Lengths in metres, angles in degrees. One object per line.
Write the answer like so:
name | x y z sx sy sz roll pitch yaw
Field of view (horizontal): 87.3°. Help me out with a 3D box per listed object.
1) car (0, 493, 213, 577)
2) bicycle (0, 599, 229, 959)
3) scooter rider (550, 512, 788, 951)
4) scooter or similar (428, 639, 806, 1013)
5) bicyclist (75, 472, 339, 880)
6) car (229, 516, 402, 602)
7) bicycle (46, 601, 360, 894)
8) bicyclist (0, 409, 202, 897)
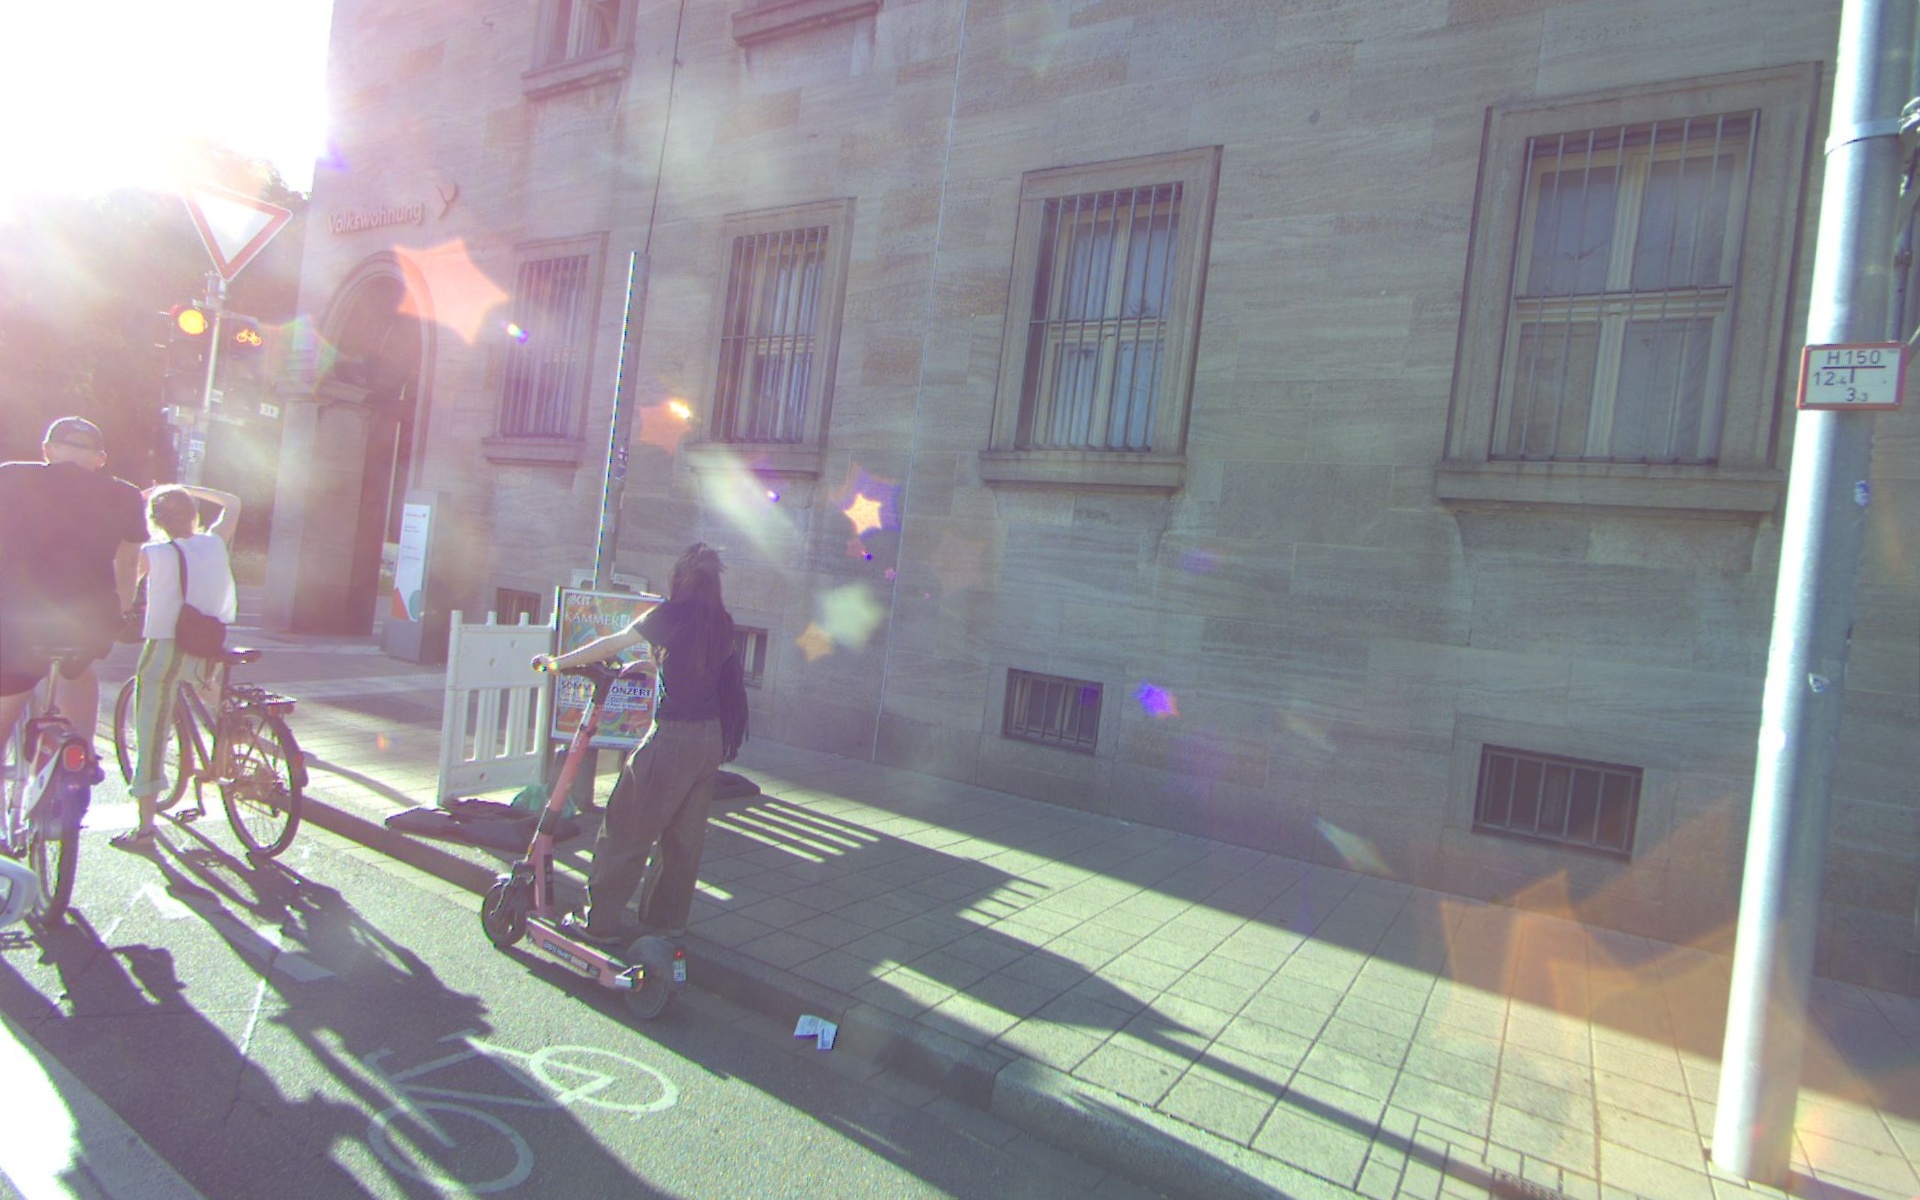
car | -23.485 -1.744 27.349 1.967 1.533 4.586 6 -2 32
bicycle | -3.725 0.598 3.991 1.717 1.057 0.624 7 0 31
scooter rider | -1.158 0.481 3.999 0.543 1.581 0.570 7 0 -44
scooter or similar | -1.355 0.814 3.988 1.249 1.163 0.575 6 -1 24
bicyclist | -3.646 0.322 4.867 0.934 1.760 0.584 7 0 32
car | -20.285 -1.255 31.804 1.968 2.037 3.994 6 -2 33
bicycle | -3.714 0.636 4.888 1.718 1.057 0.582 7 0 33
bicyclist | -3.662 0.177 3.986 0.897 1.736 0.624 7 0 31
